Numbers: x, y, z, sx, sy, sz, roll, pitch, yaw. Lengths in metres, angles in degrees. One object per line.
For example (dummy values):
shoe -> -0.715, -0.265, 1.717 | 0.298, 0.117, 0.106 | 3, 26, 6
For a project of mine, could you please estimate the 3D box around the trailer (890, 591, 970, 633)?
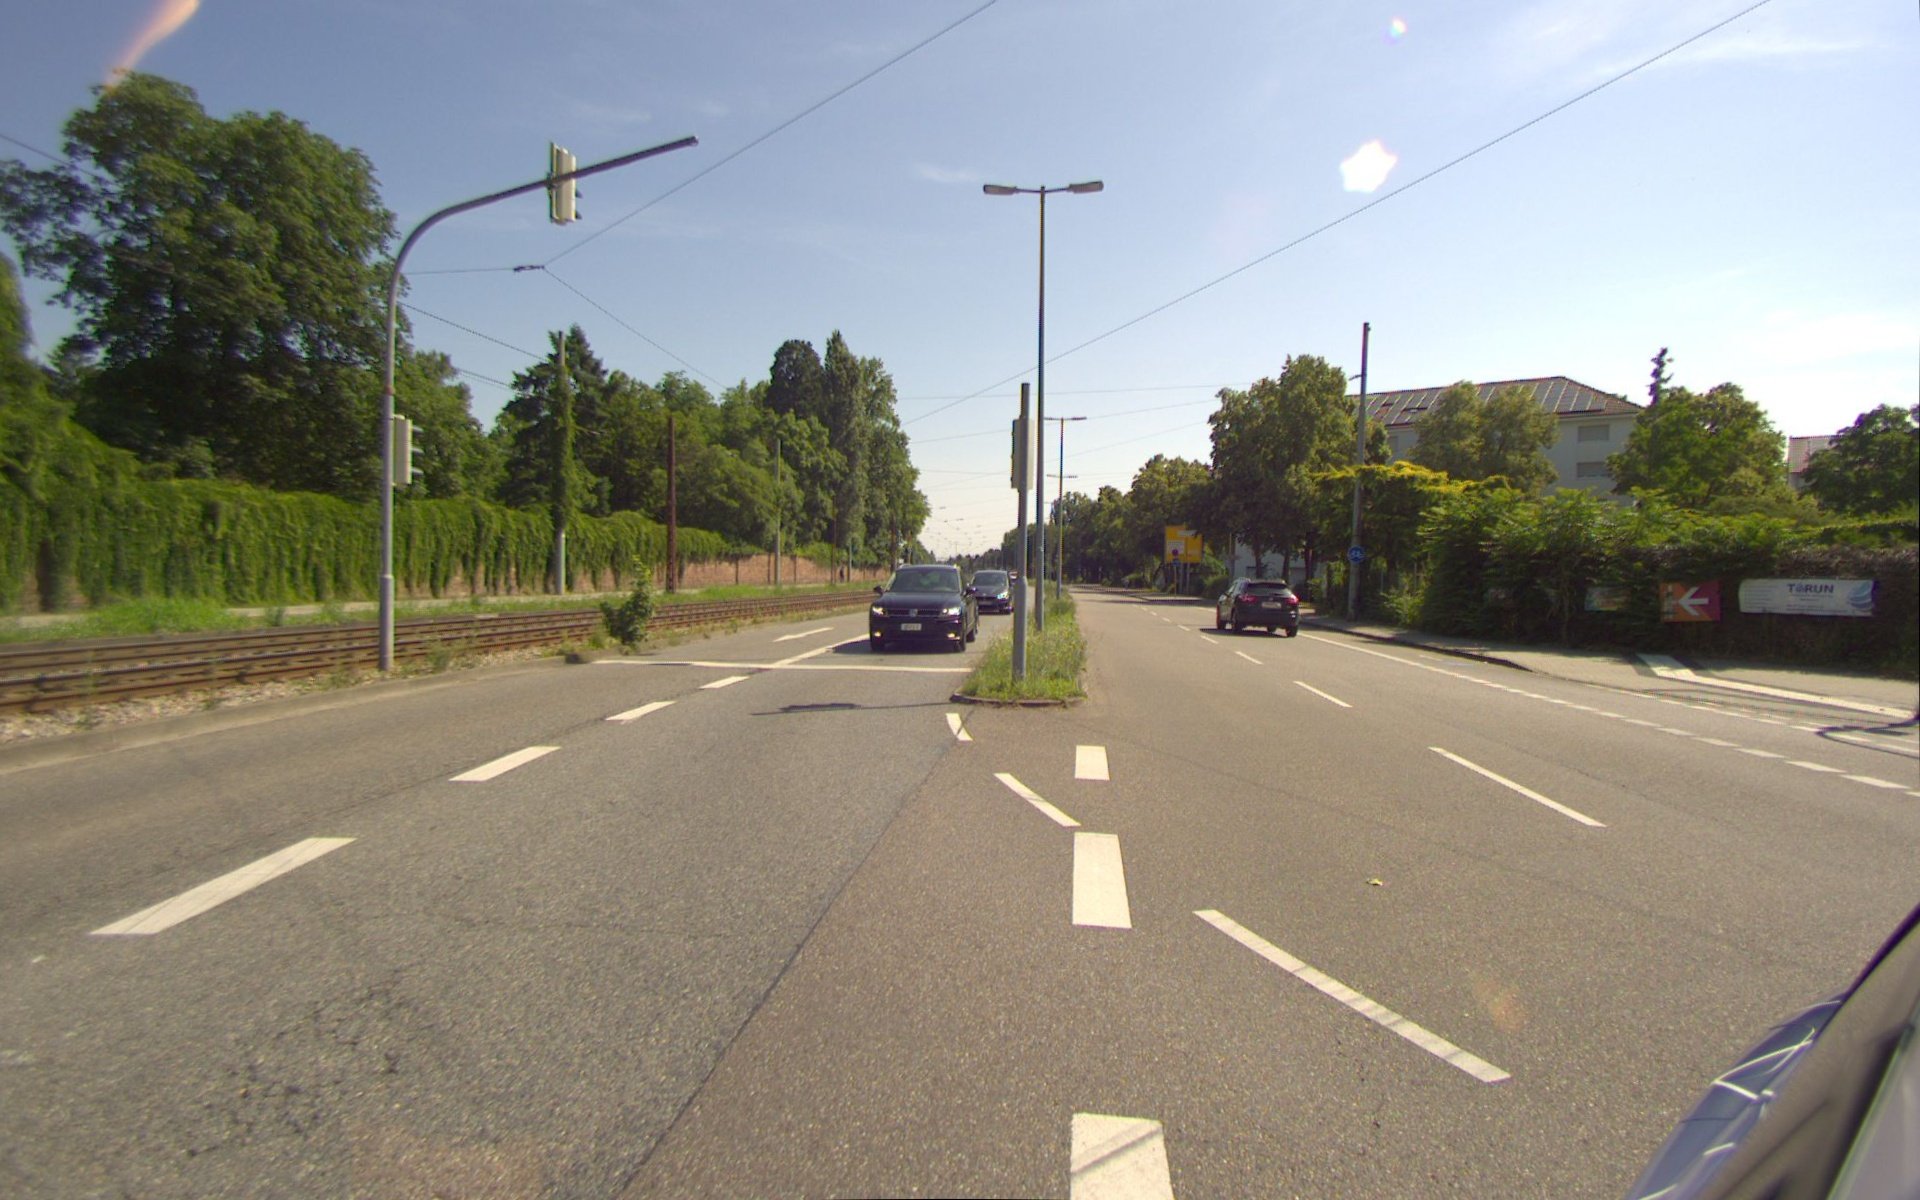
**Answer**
trailer -> -0.659, 0.248, 24.057 | 1.723, 0.828, 3.070 | 1, 2, 1

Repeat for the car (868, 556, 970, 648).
car -> -0.716, -0.027, 20.254 | 1.723, 1.602, 4.505 | 1, 2, 1

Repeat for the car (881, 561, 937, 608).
car -> -1.833, -0.617, 37.709 | 1.723, 1.602, 4.505 | 1, 2, 1

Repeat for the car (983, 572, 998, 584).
car -> 4.225, -3.058, 140.873 | 1.895, 1.622, 4.469 | 0, 2, 0

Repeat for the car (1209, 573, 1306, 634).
car -> 8.696, 0.030, 29.993 | 1.725, 1.602, 4.502 | 3, 2, 4
